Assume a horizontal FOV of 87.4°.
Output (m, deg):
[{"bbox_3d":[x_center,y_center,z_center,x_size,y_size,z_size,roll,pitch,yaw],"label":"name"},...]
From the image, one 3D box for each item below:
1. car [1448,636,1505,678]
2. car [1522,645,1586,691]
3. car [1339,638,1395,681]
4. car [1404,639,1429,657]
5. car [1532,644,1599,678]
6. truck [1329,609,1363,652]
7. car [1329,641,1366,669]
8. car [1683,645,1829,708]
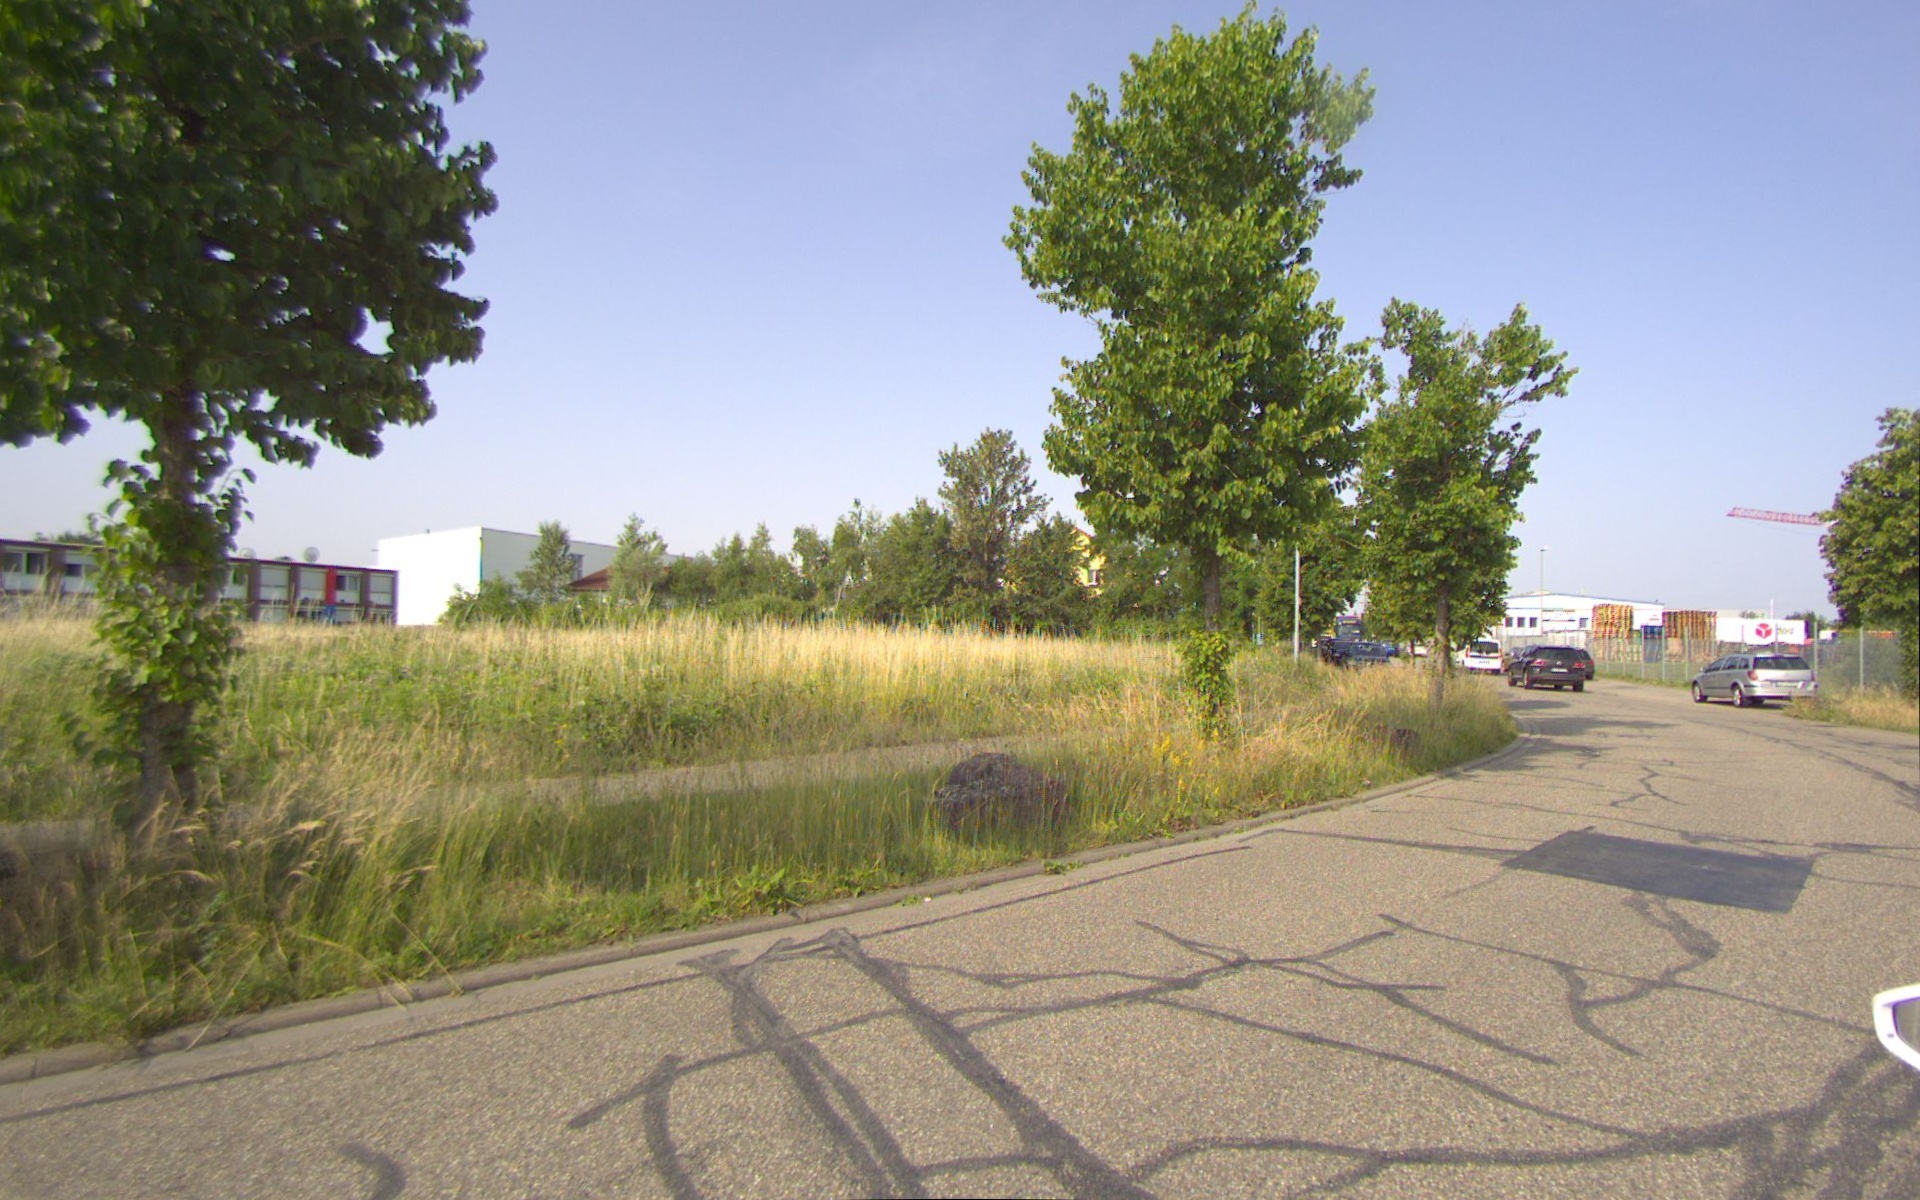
[{"bbox_3d":[27.394,3.012,53.387,2.086,2.138,4.626,0,-3,20],"label":"car"},{"bbox_3d":[22.525,2.570,38.203,1.852,1.607,4.109,0,-3,27],"label":"car"},{"bbox_3d":[17.407,2.501,43.132,1.871,1.647,4.451,2,-2,18],"label":"car"},{"bbox_3d":[44.301,4.660,97.595,1.686,1.702,3.952,1,-2,17],"label":"car"},{"bbox_3d":[29.068,2.921,48.341,1.686,1.535,4.006,-1,-3,16],"label":"car"},{"bbox_3d":[39.651,3.204,103.362,2.456,4.199,10.384,-1,-3,17],"label":"truck"},{"bbox_3d":[23.246,3.265,60.365,1.802,1.515,4.051,2,-2,18],"label":"car"},{"bbox_3d":[22.817,2.141,29.026,1.769,1.647,4.451,-1,-3,17],"label":"car"}]
